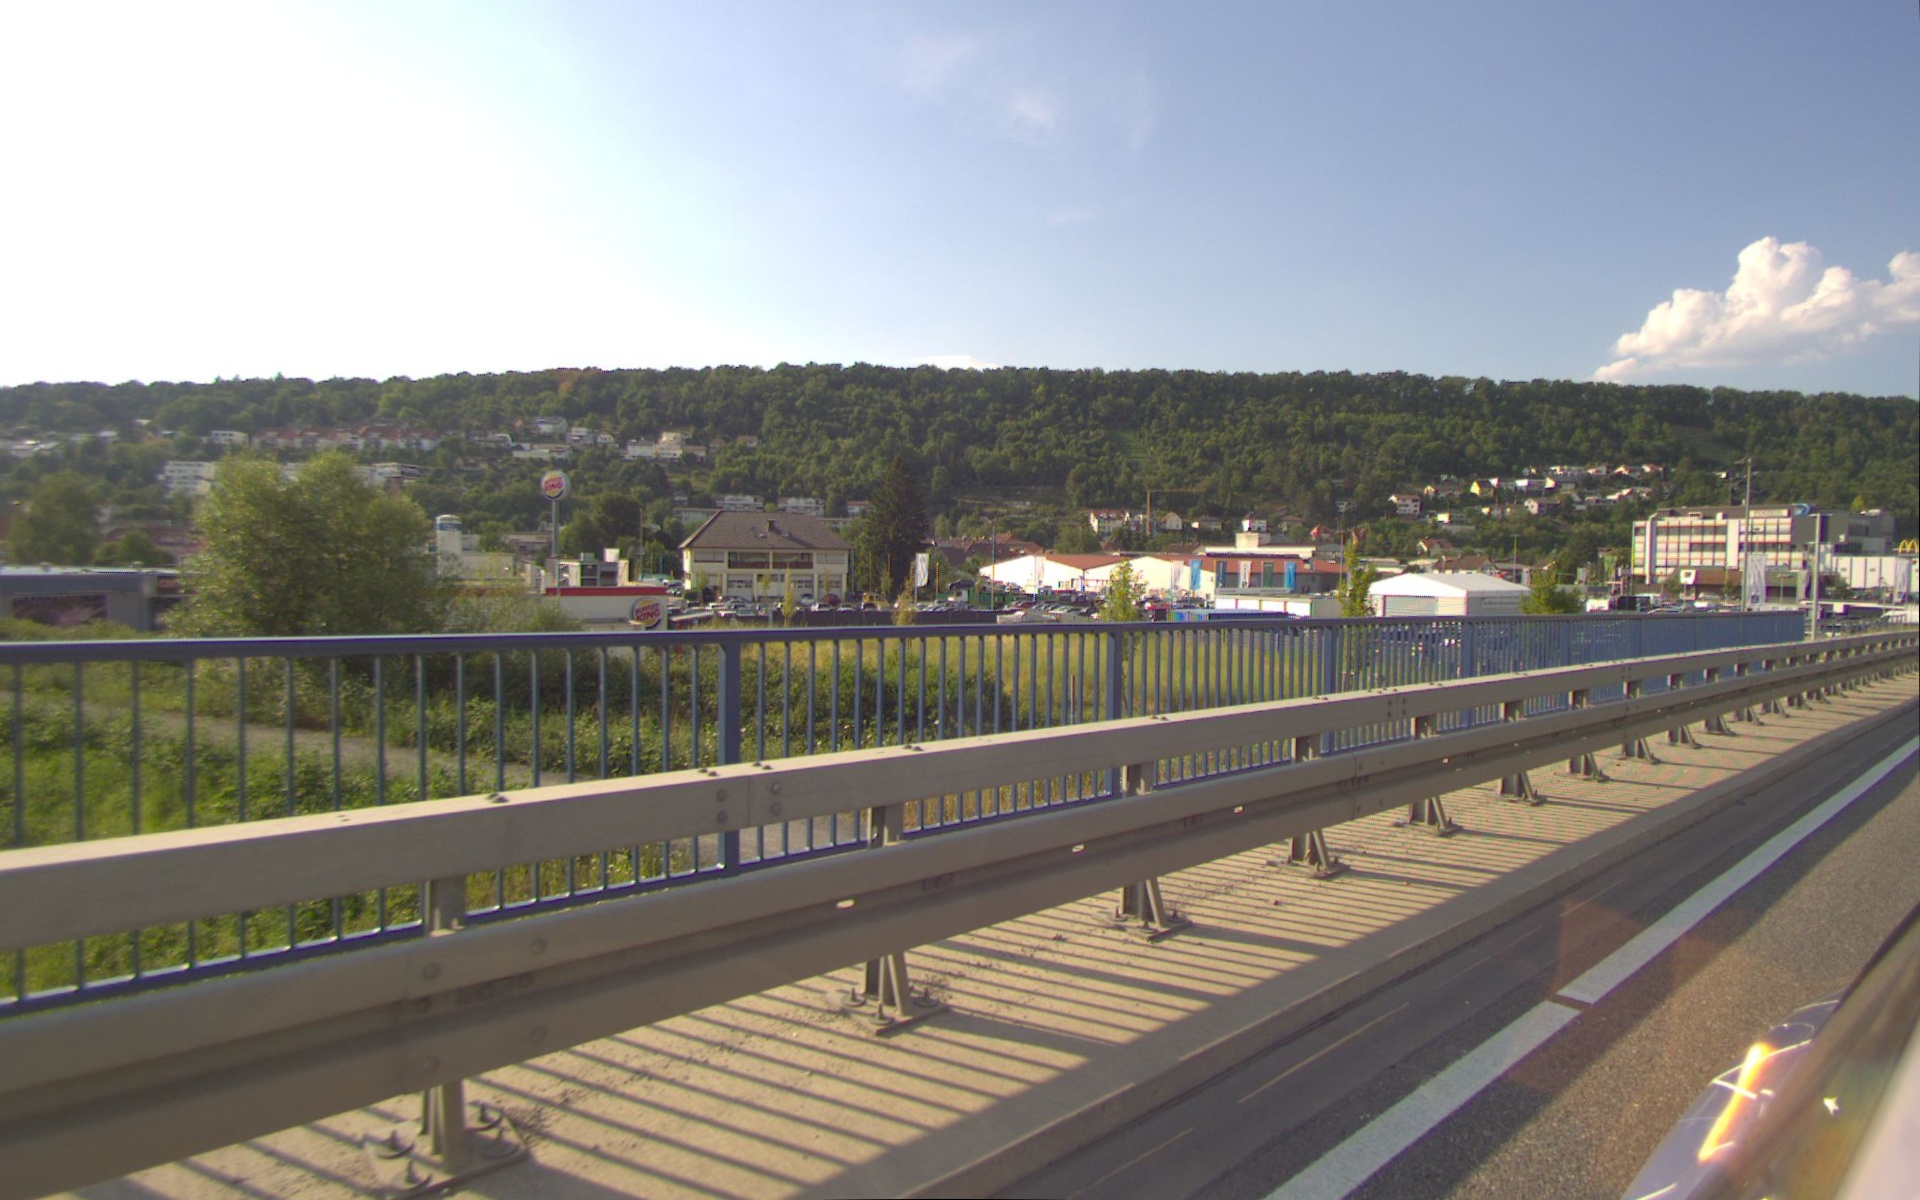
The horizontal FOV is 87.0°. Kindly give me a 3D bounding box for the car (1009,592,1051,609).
[{"bbox_3d":[6.957,0.078,100.259,3.702,1.597,1.756,-1,1,-24],"label":"car"}]

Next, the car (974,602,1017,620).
[{"bbox_3d":[3.443,1.042,97.187,3.701,1.597,1.756,-1,1,-21],"label":"car"}]

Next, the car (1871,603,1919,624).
[{"bbox_3d":[99.206,1.426,105.573,1.964,2.039,5.896,-1,1,-38],"label":"car"}]

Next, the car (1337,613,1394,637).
[{"bbox_3d":[31.312,1.879,78.092,4.641,1.656,1.885,-1,1,-36],"label":"car"}]

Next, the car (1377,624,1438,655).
[{"bbox_3d":[28.079,2.461,63.488,3.926,1.705,1.780,-1,1,-36],"label":"car"}]

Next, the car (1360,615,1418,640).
[{"bbox_3d":[32.211,2.056,75.957,4.641,1.656,1.885,-1,1,-36],"label":"car"}]

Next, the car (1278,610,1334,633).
[{"bbox_3d":[27.617,1.684,80.753,4.641,1.656,1.885,-1,1,-36],"label":"car"}]

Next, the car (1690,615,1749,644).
[{"bbox_3d":[56.289,2.154,74.990,4.636,1.955,1.887,-1,1,-31],"label":"car"}]

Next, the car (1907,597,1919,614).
[{"bbox_3d":[103.626,0.640,107.692,1.868,1.772,3.996,-1,1,-39],"label":"car"}]

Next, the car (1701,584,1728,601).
[{"bbox_3d":[105.224,-1.060,141.072,5.201,2.274,1.760,-1,1,-38],"label":"car"}]

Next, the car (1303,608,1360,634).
[{"bbox_3d":[25.111,1.411,68.334,3.926,1.623,1.711,-1,1,-37],"label":"car"}]

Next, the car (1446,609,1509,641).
[{"bbox_3d":[30.667,1.449,59.944,3.926,1.705,1.780,-1,1,-36],"label":"car"}]

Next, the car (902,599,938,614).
[{"bbox_3d":[-4.527,0.715,115.409,3.701,1.597,1.756,-1,1,-21],"label":"car"}]

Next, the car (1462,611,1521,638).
[{"bbox_3d":[36.880,1.687,70.157,4.643,1.656,1.885,-1,1,-37],"label":"car"}]

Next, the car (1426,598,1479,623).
[{"bbox_3d":[35.046,0.717,71.969,3.925,1.705,1.780,-1,1,-36],"label":"car"}]

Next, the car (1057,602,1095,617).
[{"bbox_3d":[12.533,1.022,109.624,3.700,1.597,1.756,-1,1,-19],"label":"car"}]

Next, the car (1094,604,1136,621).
[{"bbox_3d":[15.587,1.243,101.746,3.700,1.597,1.756,-1,1,-19],"label":"car"}]

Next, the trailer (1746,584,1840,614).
[{"bbox_3d":[96.646,-0.168,117.524,3.296,3.364,7.903,-1,1,-36],"label":"trailer"}]

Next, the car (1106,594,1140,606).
[{"bbox_3d":[21.799,-0.016,135.283,4.138,1.521,1.593,-1,1,-18],"label":"car"}]

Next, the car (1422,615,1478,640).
[{"bbox_3d":[37.704,2.080,77.815,4.641,1.656,1.885,-1,1,-36],"label":"car"}]

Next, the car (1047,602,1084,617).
[{"bbox_3d":[11.692,1.030,112.577,3.700,1.597,1.756,-1,1,-19],"label":"car"}]
